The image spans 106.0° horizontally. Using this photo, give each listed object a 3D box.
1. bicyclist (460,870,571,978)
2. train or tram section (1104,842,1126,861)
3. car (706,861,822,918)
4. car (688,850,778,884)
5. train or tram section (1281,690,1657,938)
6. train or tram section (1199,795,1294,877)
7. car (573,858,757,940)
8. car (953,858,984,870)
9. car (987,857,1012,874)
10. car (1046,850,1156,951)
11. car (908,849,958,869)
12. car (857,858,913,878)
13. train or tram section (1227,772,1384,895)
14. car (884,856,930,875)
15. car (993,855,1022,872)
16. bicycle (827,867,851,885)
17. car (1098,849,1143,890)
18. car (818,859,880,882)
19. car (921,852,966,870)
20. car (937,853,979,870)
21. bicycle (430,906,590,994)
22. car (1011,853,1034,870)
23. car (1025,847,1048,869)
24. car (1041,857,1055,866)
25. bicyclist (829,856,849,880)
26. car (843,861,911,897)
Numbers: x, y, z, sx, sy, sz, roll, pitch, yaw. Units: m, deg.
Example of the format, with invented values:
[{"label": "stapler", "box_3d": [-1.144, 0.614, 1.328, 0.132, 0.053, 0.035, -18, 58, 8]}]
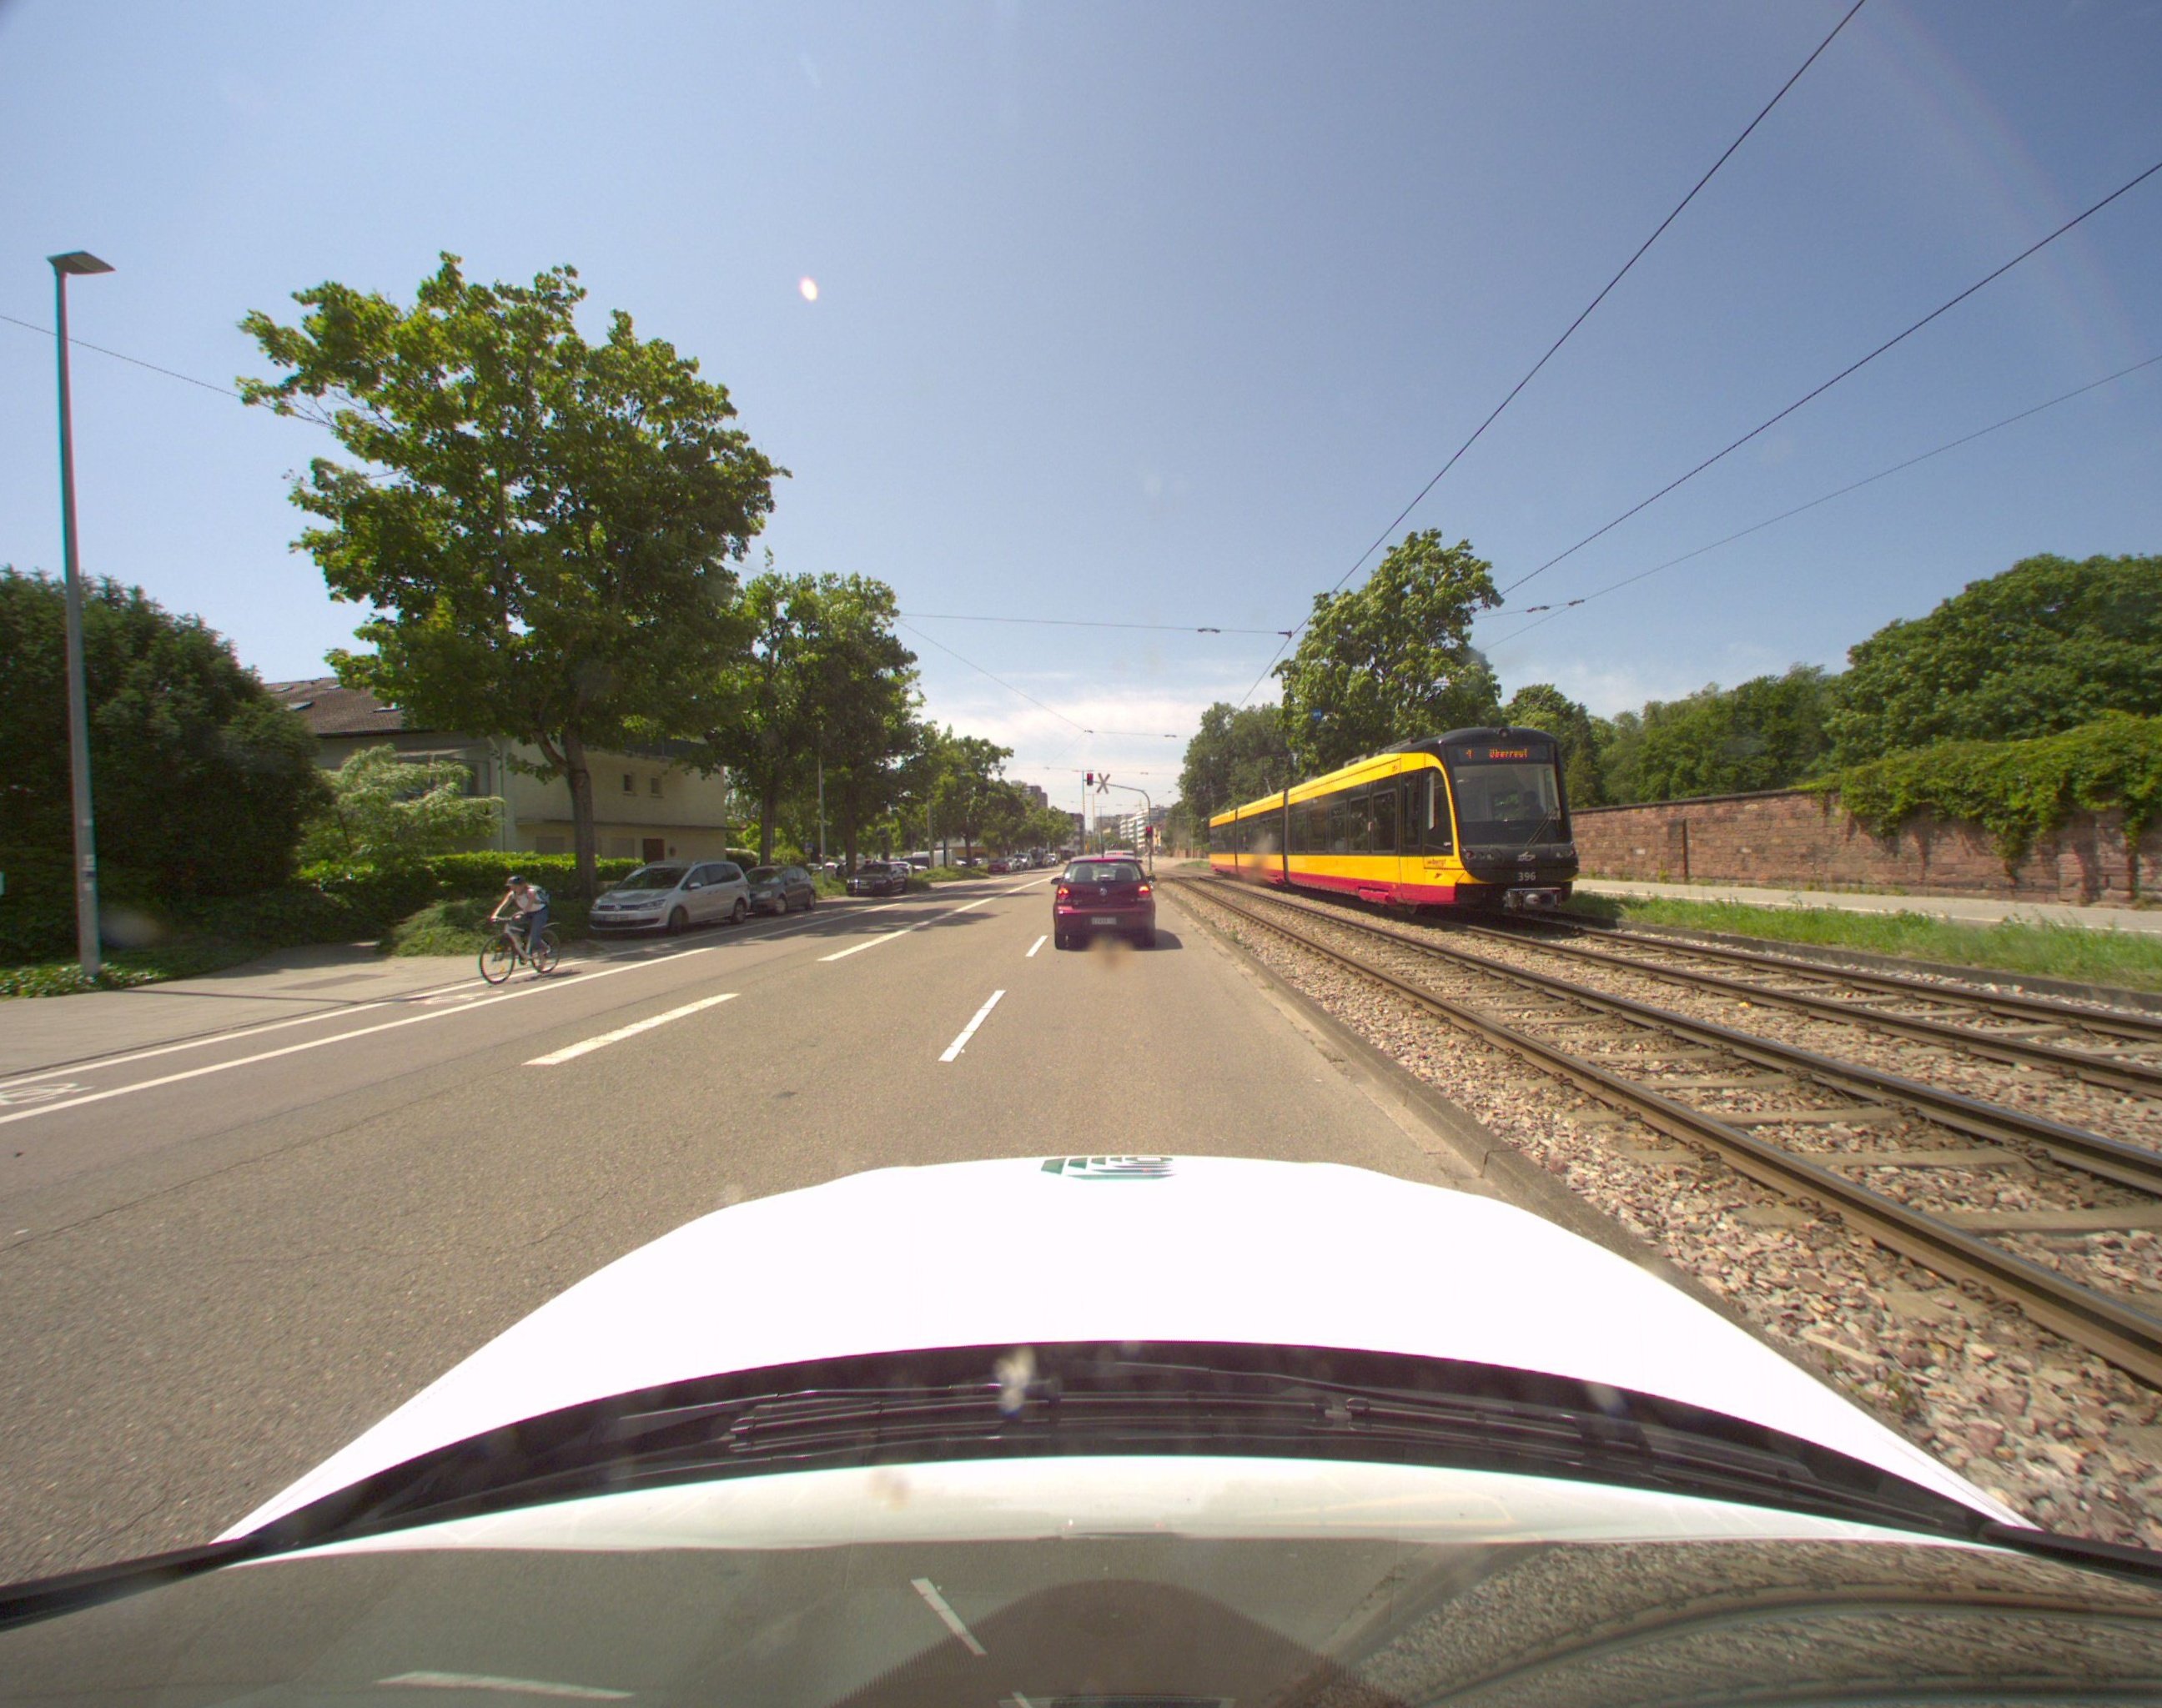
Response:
[{"label": "bicyclist", "box_3d": [-8.255, 0.992, 11.940, 0.733, 1.431, 1.124, -5, 0, -1]}, {"label": "train or tram section", "box_3d": [6.782, -0.513, 164.531, 2.736, 3.609, 12.848, 0, 0, -5]}, {"label": "car", "box_3d": [-9.595, 1.018, 25.008, 1.812, 1.564, 4.183, 0, 0, 2]}, {"label": "car", "box_3d": [-30.569, 1.126, 71.718, 6.828, 2.965, 2.364, 0, -1, 0]}, {"label": "train or tram section", "box_3d": [7.696, -0.637, 19.340, 3.016, 3.798, 13.096, -2, 0, 2]}, {"label": "train or tram section", "box_3d": [8.835, -0.860, 45.212, 3.016, 3.798, 12.766, -2, 0, 2]}, {"label": "car", "box_3d": [-9.853, 0.976, 19.829, 1.865, 1.664, 4.783, -1, 0, 2]}, {"label": "car", "box_3d": [-15.901, 1.397, 115.259, 4.003, 1.617, 1.818, 0, -1, 3]}, {"label": "car", "box_3d": [-7.446, 1.074, 74.572, 1.655, 1.497, 4.004, 0, -1, 4]}, {"label": "car", "box_3d": [0.354, 0.704, 14.310, 1.666, 1.521, 4.001, 0, 0, 1]}, {"label": "car", "box_3d": [-16.596, 0.552, 91.597, 5.076, 2.244, 2.380, 0, -1, 3]}, {"label": "car", "box_3d": [-17.534, 1.211, 72.920, 4.318, 1.585, 1.917, -2, 0, 8]}, {"label": "train or tram section", "box_3d": [8.292, -0.669, 32.390, 3.016, 3.798, 13.096, -2, 0, 2]}, {"label": "car", "box_3d": [-17.270, 1.138, 80.954, 3.973, 1.746, 1.999, -2, 0, 1]}, {"label": "car", "box_3d": [-7.313, 0.951, 81.124, 1.965, 1.601, 4.566, 0, -1, 7]}, {"label": "bicycle", "box_3d": [-13.881, 1.239, 46.744, 0.697, 1.030, 1.832, 0, -1, 5]}, {"label": "car", "box_3d": [1.630, 0.620, 34.525, 1.770, 1.647, 4.001, 0, 0, 1]}, {"label": "car", "box_3d": [-18.503, 1.311, 65.130, 4.329, 1.585, 1.912, -2, 0, 0]}, {"label": "car", "box_3d": [-17.337, 0.838, 102.756, 5.076, 2.244, 2.380, 0, -1, 3]}, {"label": "car", "box_3d": [-16.350, 1.043, 108.178, 5.076, 2.244, 2.380, 0, -1, 3]}, {"label": "bicycle", "box_3d": [-8.244, 1.344, 11.912, 0.699, 0.951, 2.242, -4, 1, -1]}, {"label": "car", "box_3d": [-6.501, 0.844, 91.351, 1.774, 1.881, 4.792, 0, -1, 5]}, {"label": "car", "box_3d": [-5.699, 0.525, 104.386, 2.352, 2.692, 5.311, 0, -1, 3]}, {"label": "car", "box_3d": [-4.930, 1.135, 121.789, 1.606, 1.441, 4.006, 0, -1, 6]}, {"label": "bicyclist", "box_3d": [-13.884, 0.794, 46.746, 0.805, 1.374, 0.829, 0, -1, 5]}, {"label": "car", "box_3d": [-9.127, 1.094, 36.834, 1.812, 1.476, 4.451, 0, 0, 2]}]
